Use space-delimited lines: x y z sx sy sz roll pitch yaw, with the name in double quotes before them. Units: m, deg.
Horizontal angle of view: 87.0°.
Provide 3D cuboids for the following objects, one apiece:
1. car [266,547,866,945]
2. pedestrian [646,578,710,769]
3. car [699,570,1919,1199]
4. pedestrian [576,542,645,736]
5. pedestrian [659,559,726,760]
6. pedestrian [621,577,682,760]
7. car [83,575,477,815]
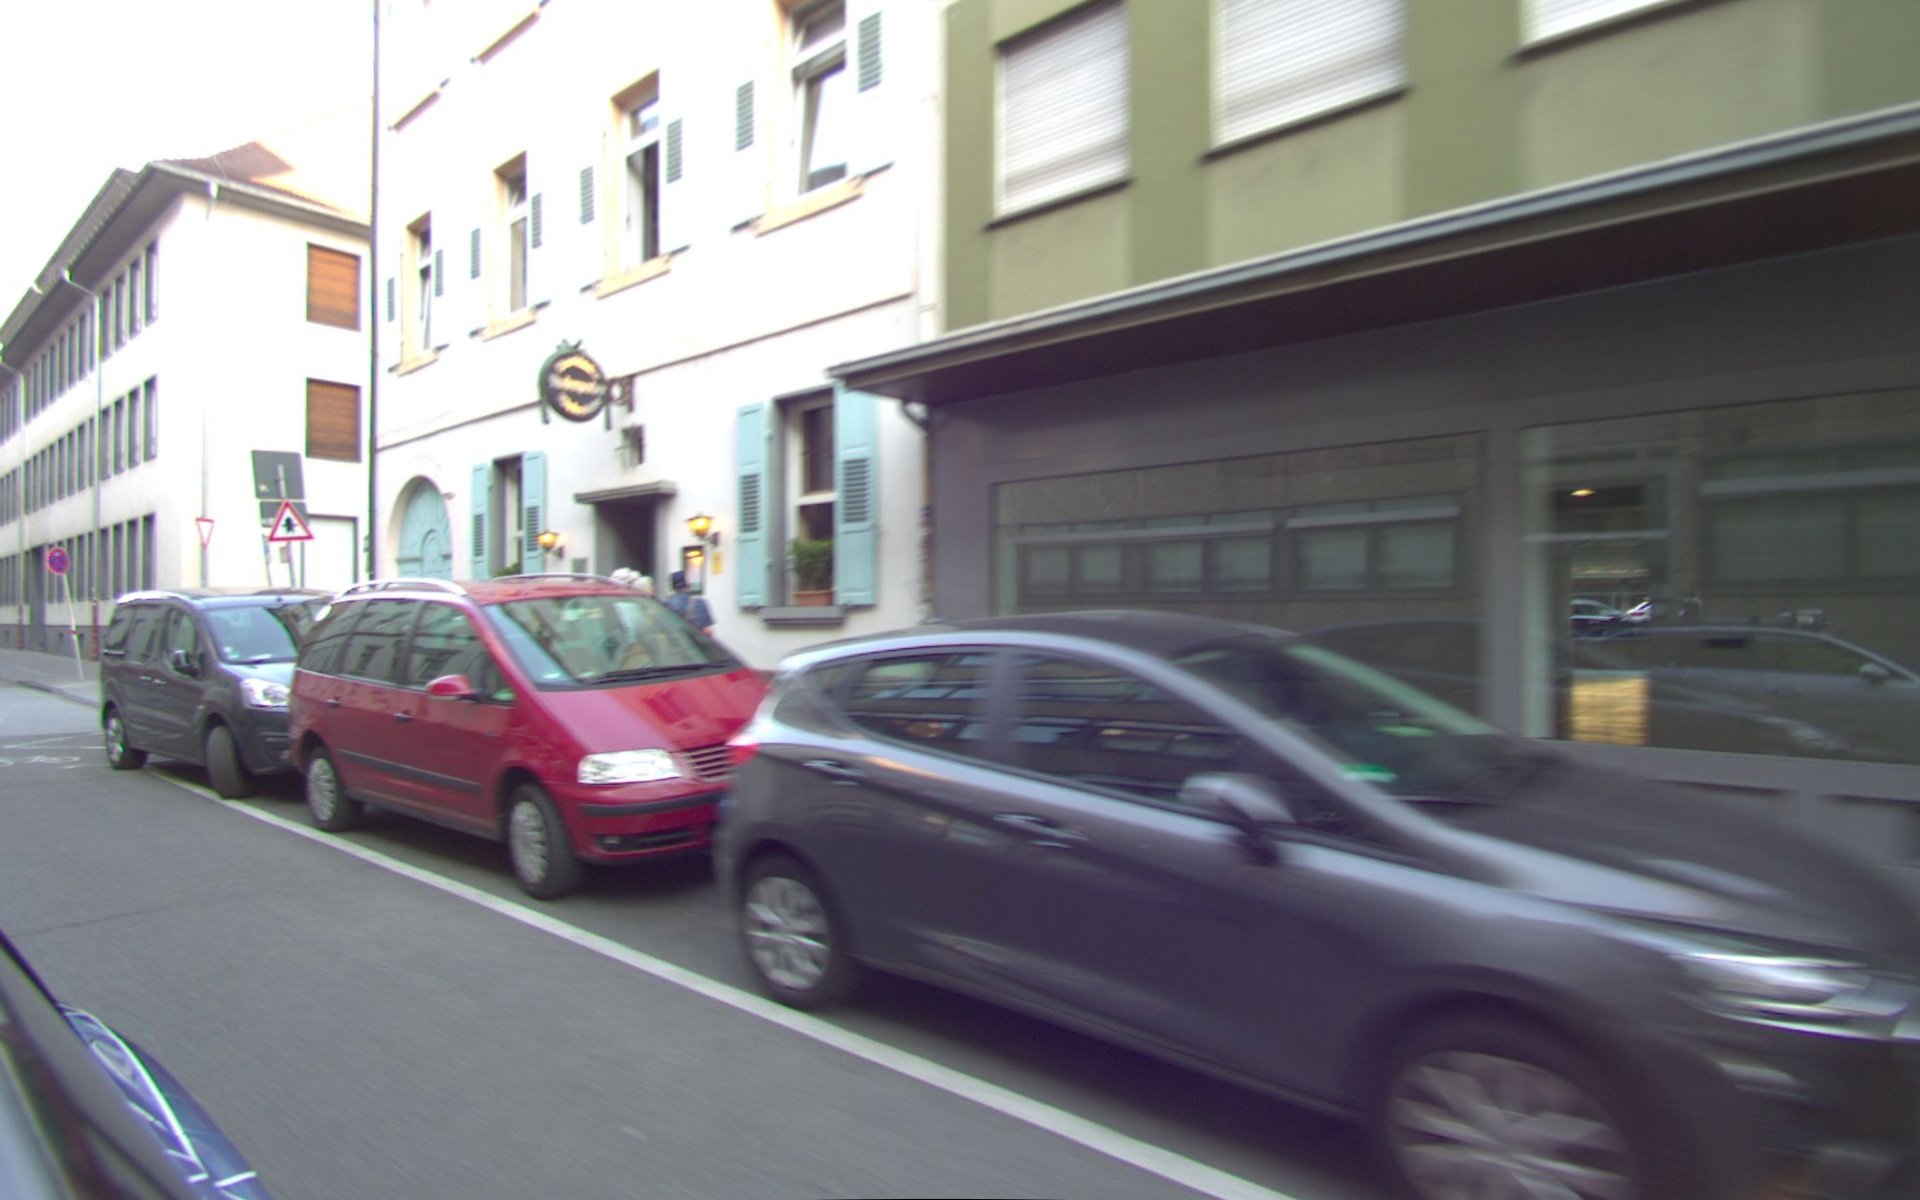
"car" -2.856 0.698 6.763 4.505 1.825 1.755 -1 -1 39
"pedestrian" -2.700 0.680 9.673 0.470 1.763 0.402 -1 -1 42
"car" 0.958 0.728 3.366 3.875 1.496 1.607 -1 -2 41
"pedestrian" -3.287 0.354 9.520 0.470 1.763 0.444 -1 -1 42
"pedestrian" -2.423 0.523 9.162 0.470 1.763 0.402 -1 -1 42
"pedestrian" -3.074 0.665 10.073 0.470 1.763 0.402 -1 -1 42
"car" -6.706 0.749 9.804 4.443 1.825 1.859 -1 -1 37
